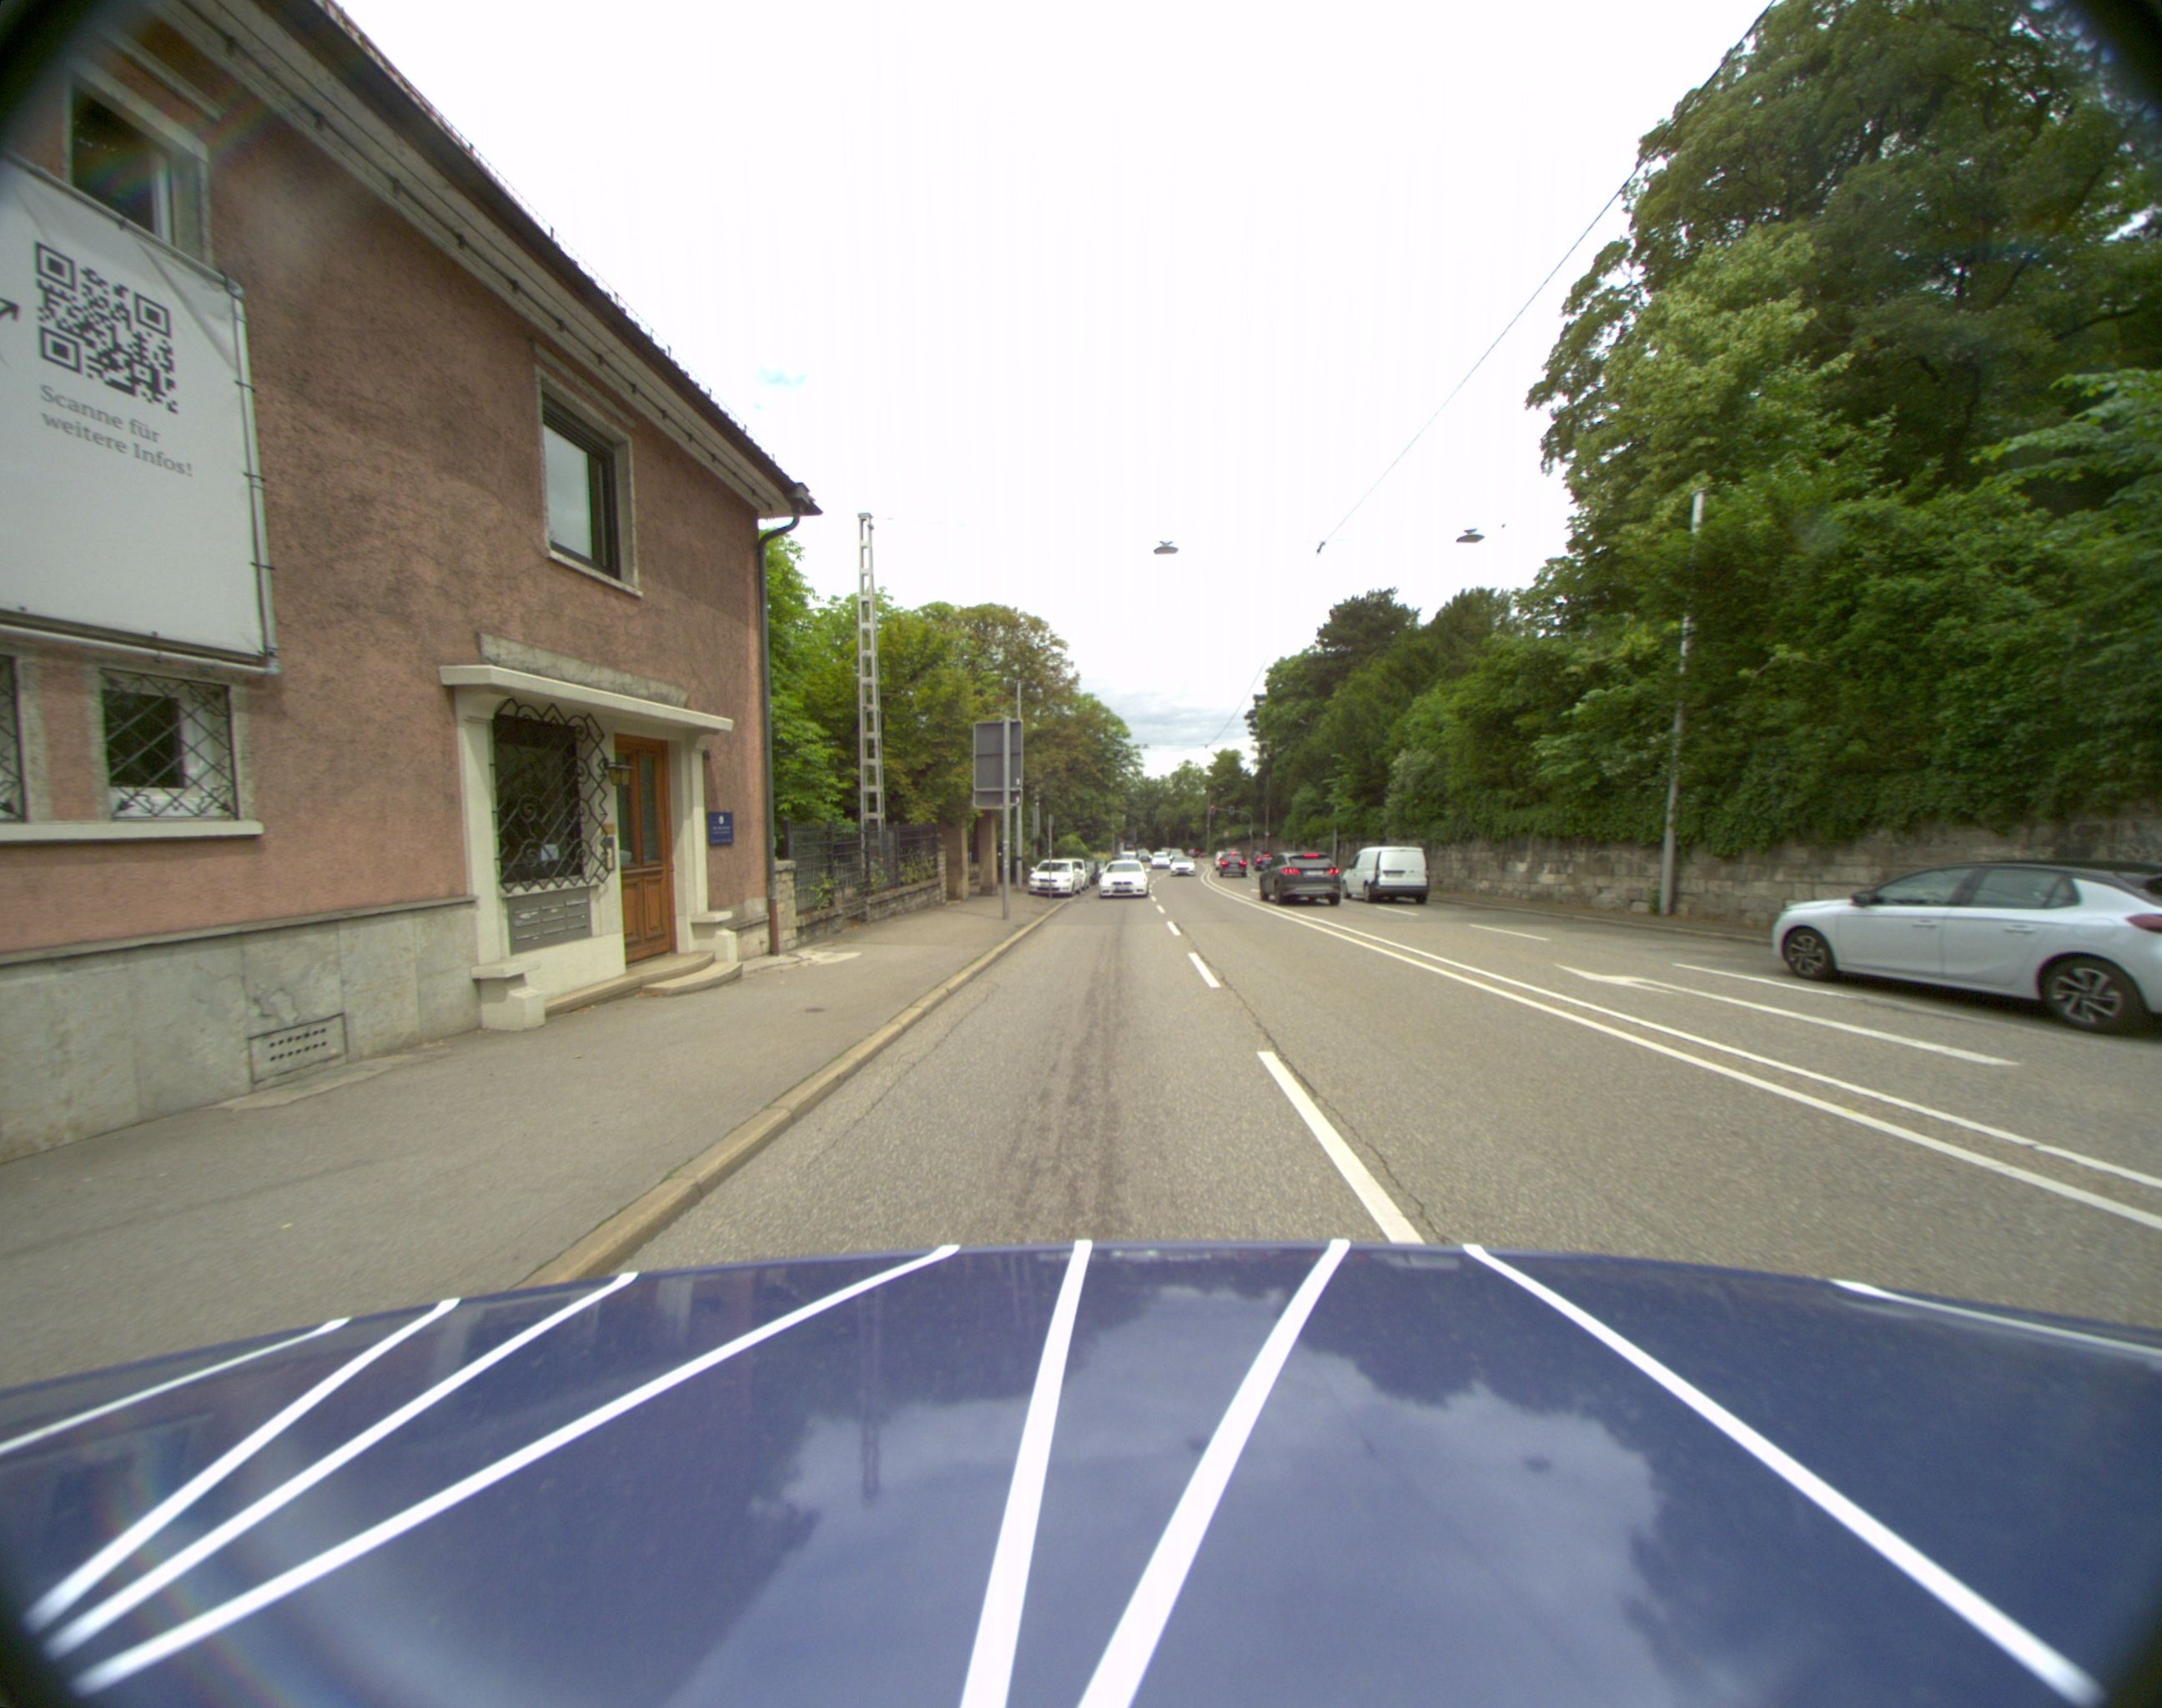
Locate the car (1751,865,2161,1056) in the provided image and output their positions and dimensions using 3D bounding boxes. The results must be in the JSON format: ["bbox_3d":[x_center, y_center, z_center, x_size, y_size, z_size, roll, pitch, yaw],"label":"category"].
[{"bbox_3d":[9.164,0.847,7.451,1.719,1.395,4.024,0,0,2],"label":"car"}]

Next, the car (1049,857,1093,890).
[{"bbox_3d":[-0.423,0.893,36.644,1.718,1.463,4.039,1,0,5],"label":"car"}]

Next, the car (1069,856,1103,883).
[{"bbox_3d":[0.341,0.861,44.689,1.564,1.414,3.425,2,1,7],"label":"car"}]

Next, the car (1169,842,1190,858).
[{"bbox_3d":[11.282,-0.476,87.264,1.958,1.730,4.000,-1,0,0],"label":"car"}]

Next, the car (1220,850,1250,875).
[{"bbox_3d":[10.812,0.550,53.591,1.851,1.642,4.626,1,1,9],"label":"car"}]

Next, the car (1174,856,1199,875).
[{"bbox_3d":[7.898,0.840,56.661,1.801,1.382,3.530,0,0,9],"label":"car"}]

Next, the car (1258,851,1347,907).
[{"bbox_3d":[6.986,0.725,24.423,1.853,1.623,4.362,-1,0,4],"label":"car"}]

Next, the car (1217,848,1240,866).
[{"bbox_3d":[13.268,0.235,68.560,1.841,1.545,4.791,-1,1,9],"label":"car"}]

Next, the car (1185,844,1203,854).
[{"bbox_3d":[16.539,-0.704,111.342,1.998,1.433,4.000,-1,0,2],"label":"car"}]

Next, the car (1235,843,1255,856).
[{"bbox_3d":[19.619,-0.555,90.934,2.006,1.401,4.758,-2,0,9],"label":"car"}]

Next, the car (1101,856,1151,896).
[{"bbox_3d":[1.804,0.829,30.568,1.822,1.462,4.786,1,0,3],"label":"car"}]

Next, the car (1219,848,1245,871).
[{"bbox_3d":[12.134,0.407,61.251,1.963,1.740,4.881,1,1,10],"label":"car"}]

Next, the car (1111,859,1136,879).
[{"bbox_3d":[3.521,1.220,62.524,1.600,1.451,3.944,1,1,10],"label":"car"}]

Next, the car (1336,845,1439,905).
[{"bbox_3d":[10.150,0.619,25.527,1.897,1.837,4.397,0,1,3],"label":"car"}]

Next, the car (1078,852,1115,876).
[{"bbox_3d":[1.071,0.634,50.100,1.773,1.391,4.553,1,1,9],"label":"car"}]

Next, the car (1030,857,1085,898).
[{"bbox_3d":[-0.894,0.916,31.087,1.679,1.453,4.367,1,1,6],"label":"car"}]

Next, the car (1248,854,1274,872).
[{"bbox_3d":[15.283,0.739,64.572,1.846,1.401,4.459,1,1,10],"label":"car"}]

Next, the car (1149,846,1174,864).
[{"bbox_3d":[8.137,0.129,76.958,1.958,1.761,3.999,-1,0,-3],"label":"car"}]
